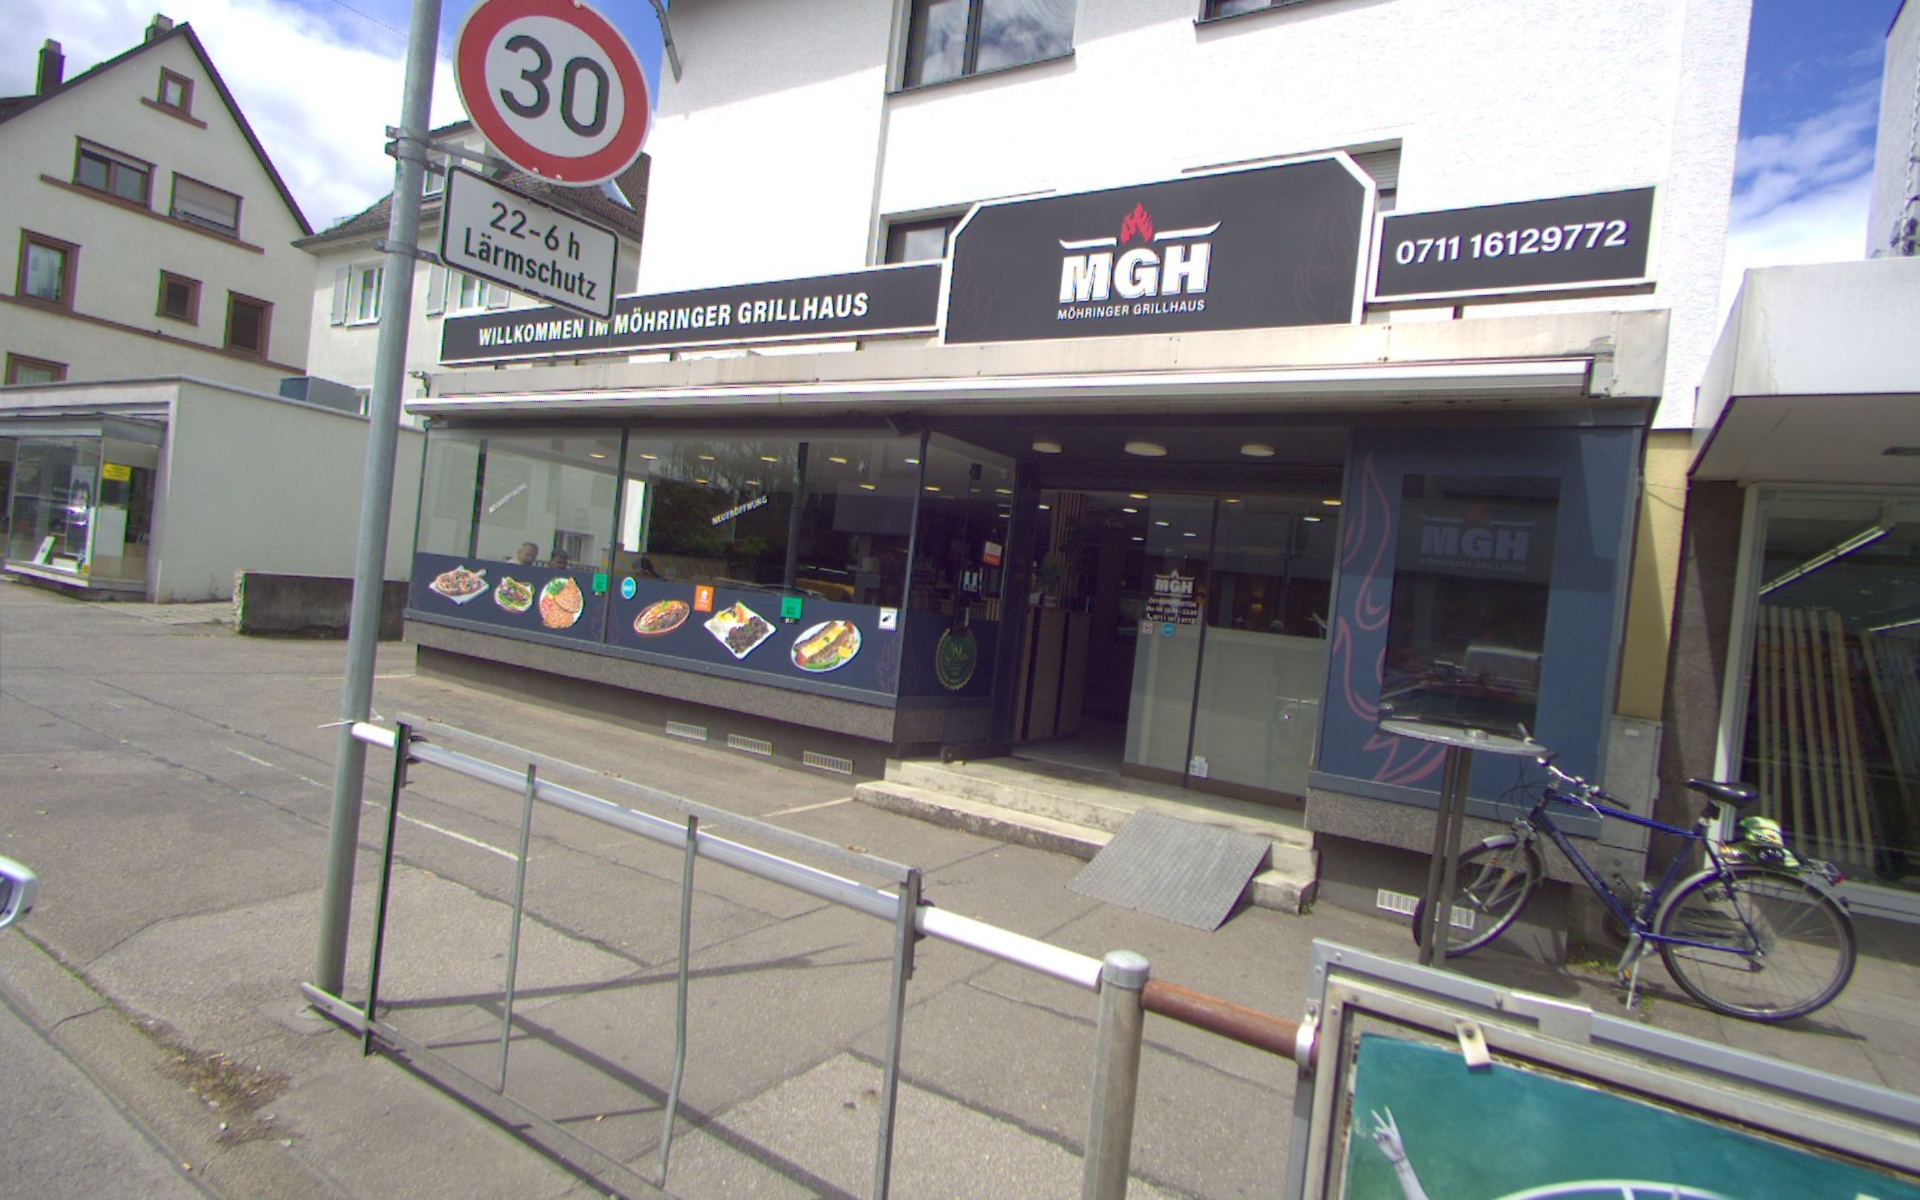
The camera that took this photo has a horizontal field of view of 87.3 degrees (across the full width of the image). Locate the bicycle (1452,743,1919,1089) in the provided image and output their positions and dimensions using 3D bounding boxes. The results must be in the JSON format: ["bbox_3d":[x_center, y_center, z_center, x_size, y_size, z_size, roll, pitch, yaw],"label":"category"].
[{"bbox_3d":[3.111,1.290,4.383,1.606,1.041,0.476,7,1,23],"label":"bicycle"}]
